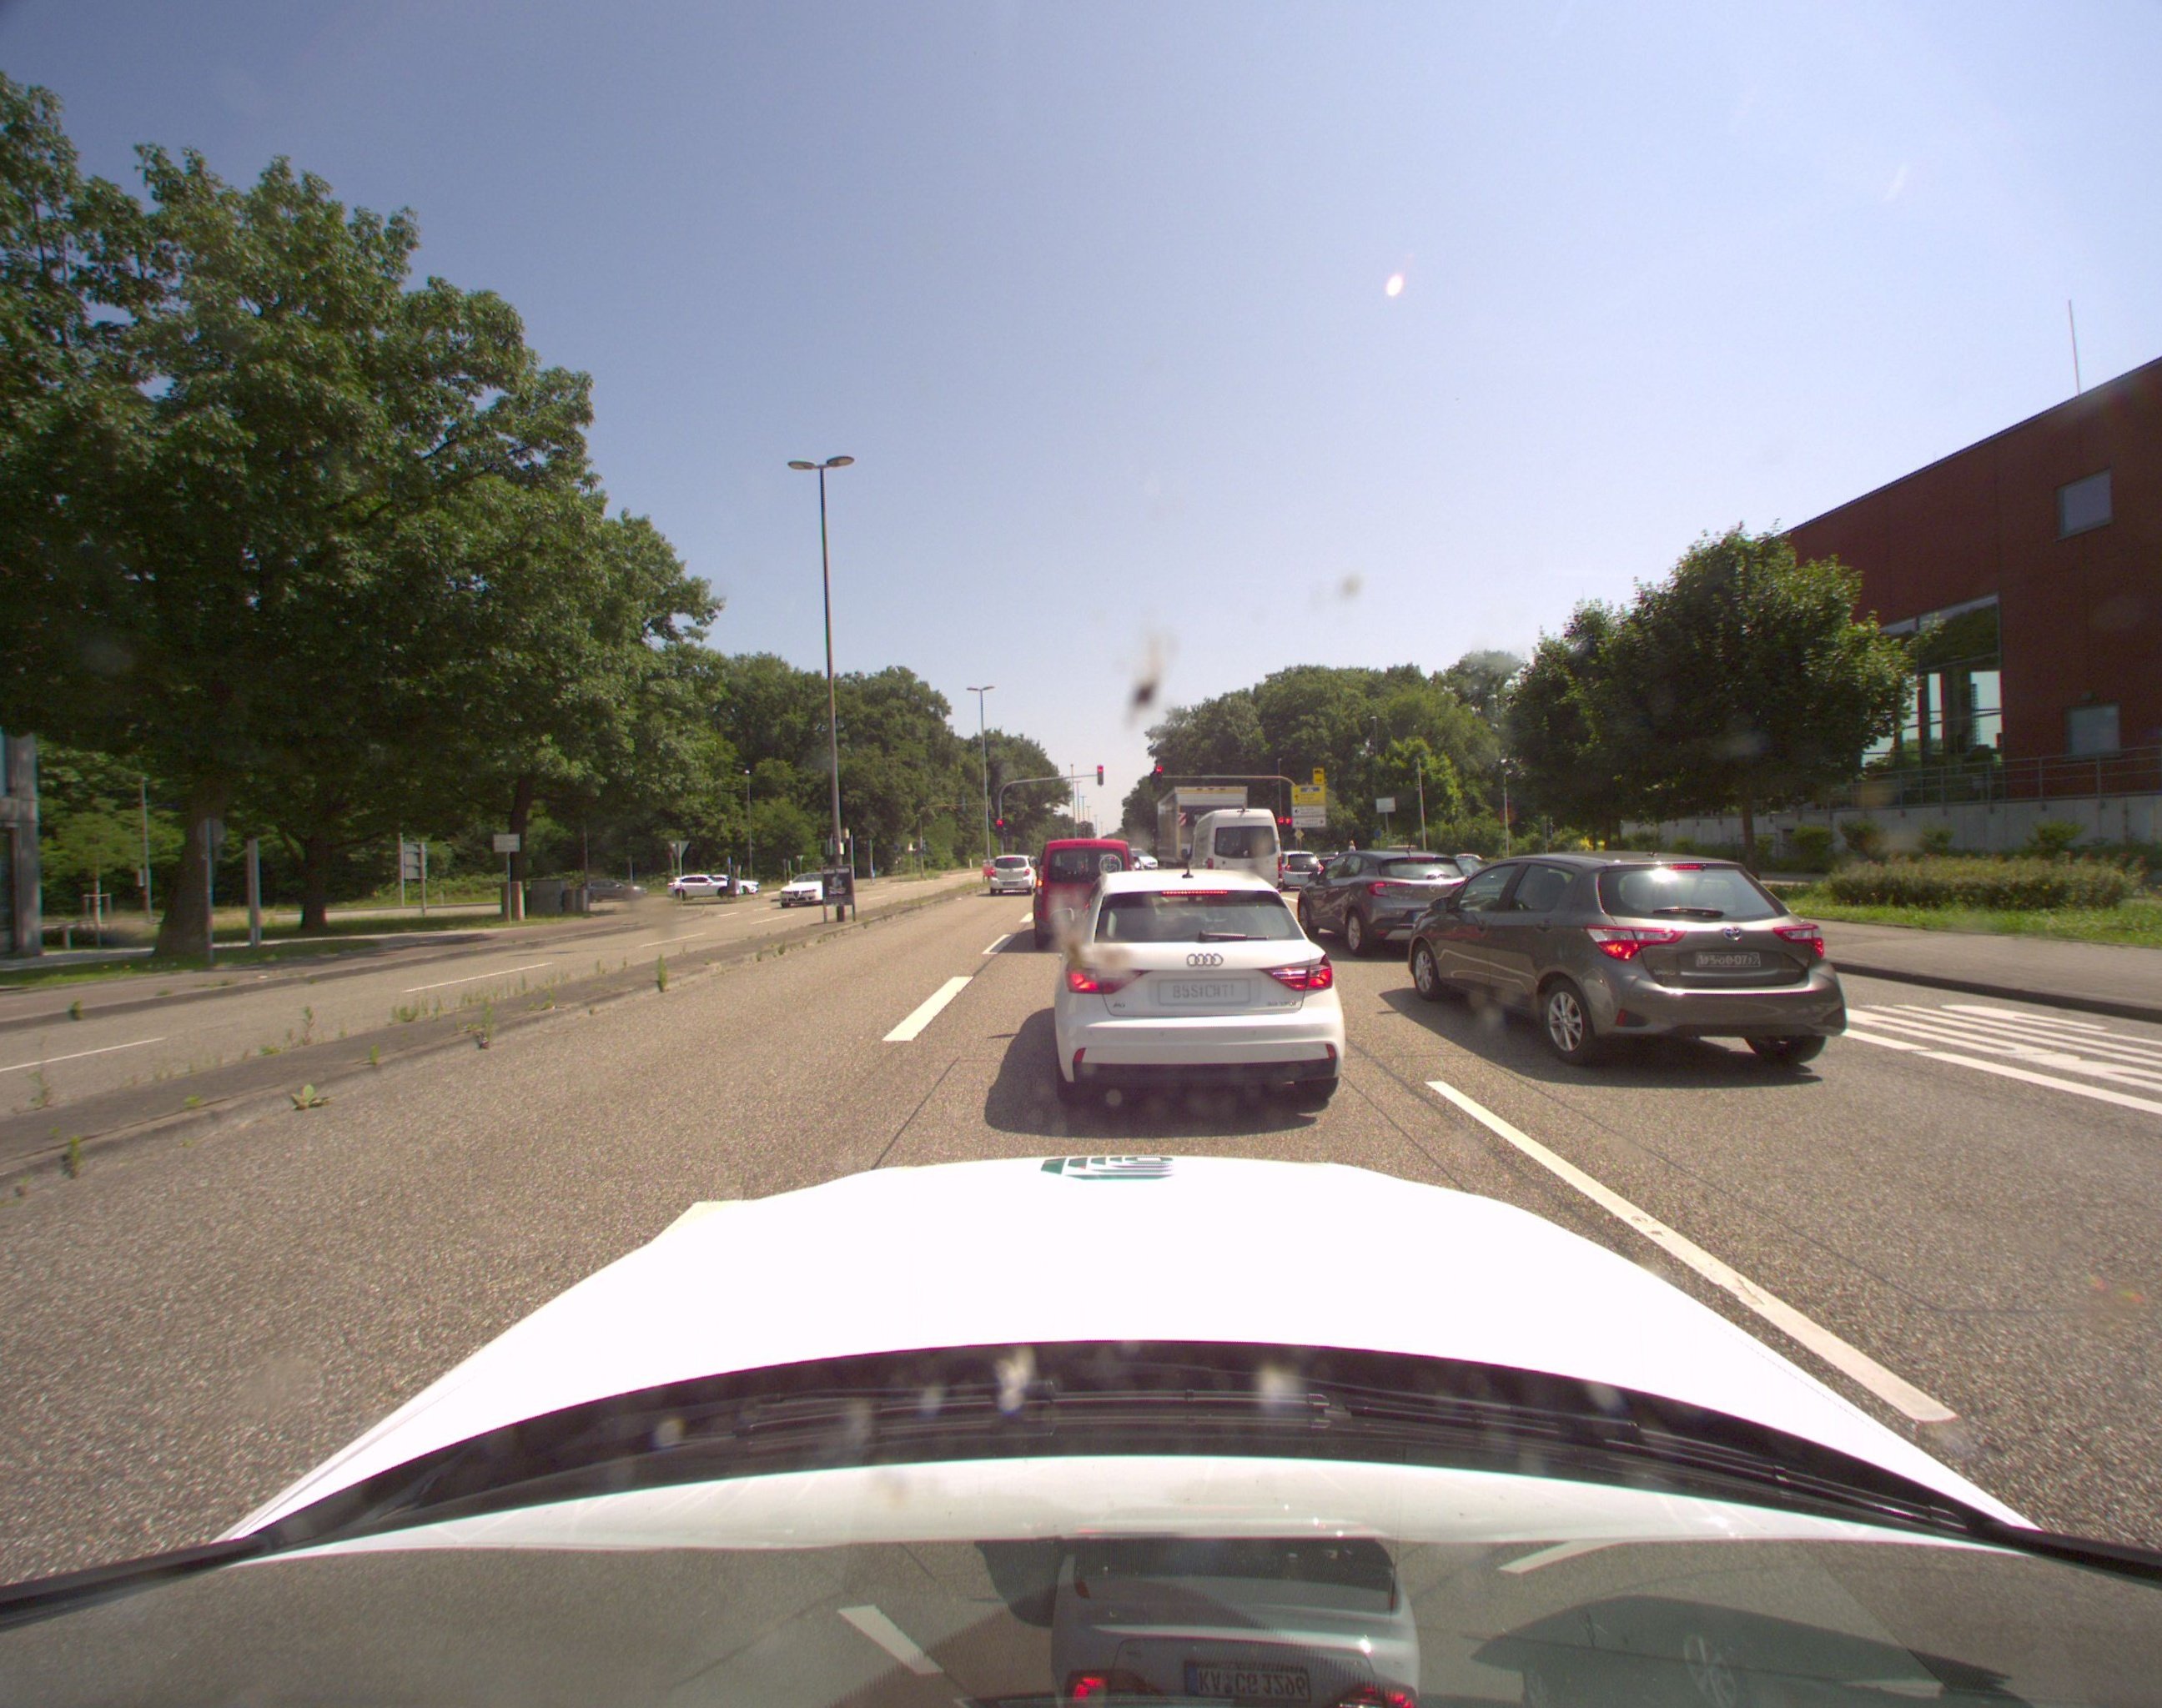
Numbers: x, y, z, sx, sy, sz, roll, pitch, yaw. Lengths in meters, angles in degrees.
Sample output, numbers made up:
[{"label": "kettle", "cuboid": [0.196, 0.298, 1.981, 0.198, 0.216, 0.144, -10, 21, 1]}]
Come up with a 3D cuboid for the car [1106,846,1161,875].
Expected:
[{"label": "car", "cuboid": [3.922, 0.484, 61.203, 2.009, 2.013, 3.955, -2, 0, -37]}]

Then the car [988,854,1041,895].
[{"label": "car", "cuboid": [-2.565, 0.756, 32.281, 1.706, 1.492, 4.091, -1, 0, 0]}]

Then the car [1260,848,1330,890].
[{"label": "car", "cuboid": [8.501, 0.577, 32.674, 1.706, 1.546, 4.091, -1, 0, 0]}]

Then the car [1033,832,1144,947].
[{"label": "car", "cuboid": [0.121, 0.550, 14.737, 1.706, 1.748, 4.091, -1, 0, 0]}]

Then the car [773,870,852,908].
[{"label": "car", "cuboid": [-11.077, 1.419, 33.950, 1.712, 1.262, 4.302, -4, 0, 1]}]

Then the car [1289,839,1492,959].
[{"label": "car", "cuboid": [4.738, 0.611, 13.149, 1.706, 1.593, 4.091, -1, 0, 0]}]

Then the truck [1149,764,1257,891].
[{"label": "truck", "cuboid": [4.781, -0.926, 34.446, 3.077, 4.434, 11.584, -1, 0, 2]}]

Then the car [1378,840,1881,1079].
[{"label": "car", "cuboid": [4.246, 0.673, 7.230, 1.706, 1.478, 4.091, 1, 0, 0]}]

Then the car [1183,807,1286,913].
[{"label": "car", "cuboid": [4.200, 0.148, 23.058, 2.024, 2.644, 4.846, -1, 0, 1]}]

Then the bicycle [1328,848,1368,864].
[{"label": "bicycle", "cuboid": [13.540, 0.112, 41.323, 0.604, 0.766, 1.805, -2, 0, -44]}]

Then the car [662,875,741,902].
[{"label": "car", "cuboid": [-24.855, 2.253, 53.444, 4.366, 1.681, 1.806, 0, -1, -7]}]

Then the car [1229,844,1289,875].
[{"label": "car", "cuboid": [12.689, 0.401, 57.980, 3.956, 2.013, 2.009, -2, 0, 16]}]

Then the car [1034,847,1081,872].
[{"label": "car", "cuboid": [-2.007, 0.490, 68.961, 2.009, 2.013, 3.955, -2, 0, -37]}]

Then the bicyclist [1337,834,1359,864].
[{"label": "bicyclist", "cuboid": [13.536, -0.250, 41.300, 0.603, 1.439, 0.819, -2, 0, -44]}]

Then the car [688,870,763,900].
[{"label": "car", "cuboid": [-24.942, 2.159, 57.268, 4.367, 1.681, 1.806, -6, 0, -7]}]

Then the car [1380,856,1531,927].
[{"label": "car", "cuboid": [8.238, 0.752, 18.346, 1.631, 1.371, 4.147, 0, 0, 2]}]

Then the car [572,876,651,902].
[{"label": "car", "cuboid": [-32.566, 2.407, 56.631, 4.370, 1.681, 1.804, 0, -1, -10]}]

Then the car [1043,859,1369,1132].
[{"label": "car", "cuboid": [0.670, 0.758, 6.367, 1.706, 1.386, 4.091, -1, 0, 0]}]

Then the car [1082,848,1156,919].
[{"label": "car", "cuboid": [0.903, 0.690, 21.263, 1.706, 1.631, 4.091, -1, 0, 0]}]

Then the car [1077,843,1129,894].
[{"label": "car", "cuboid": [0.733, 0.483, 28.943, 1.706, 1.631, 4.091, -1, 0, 0]}]
